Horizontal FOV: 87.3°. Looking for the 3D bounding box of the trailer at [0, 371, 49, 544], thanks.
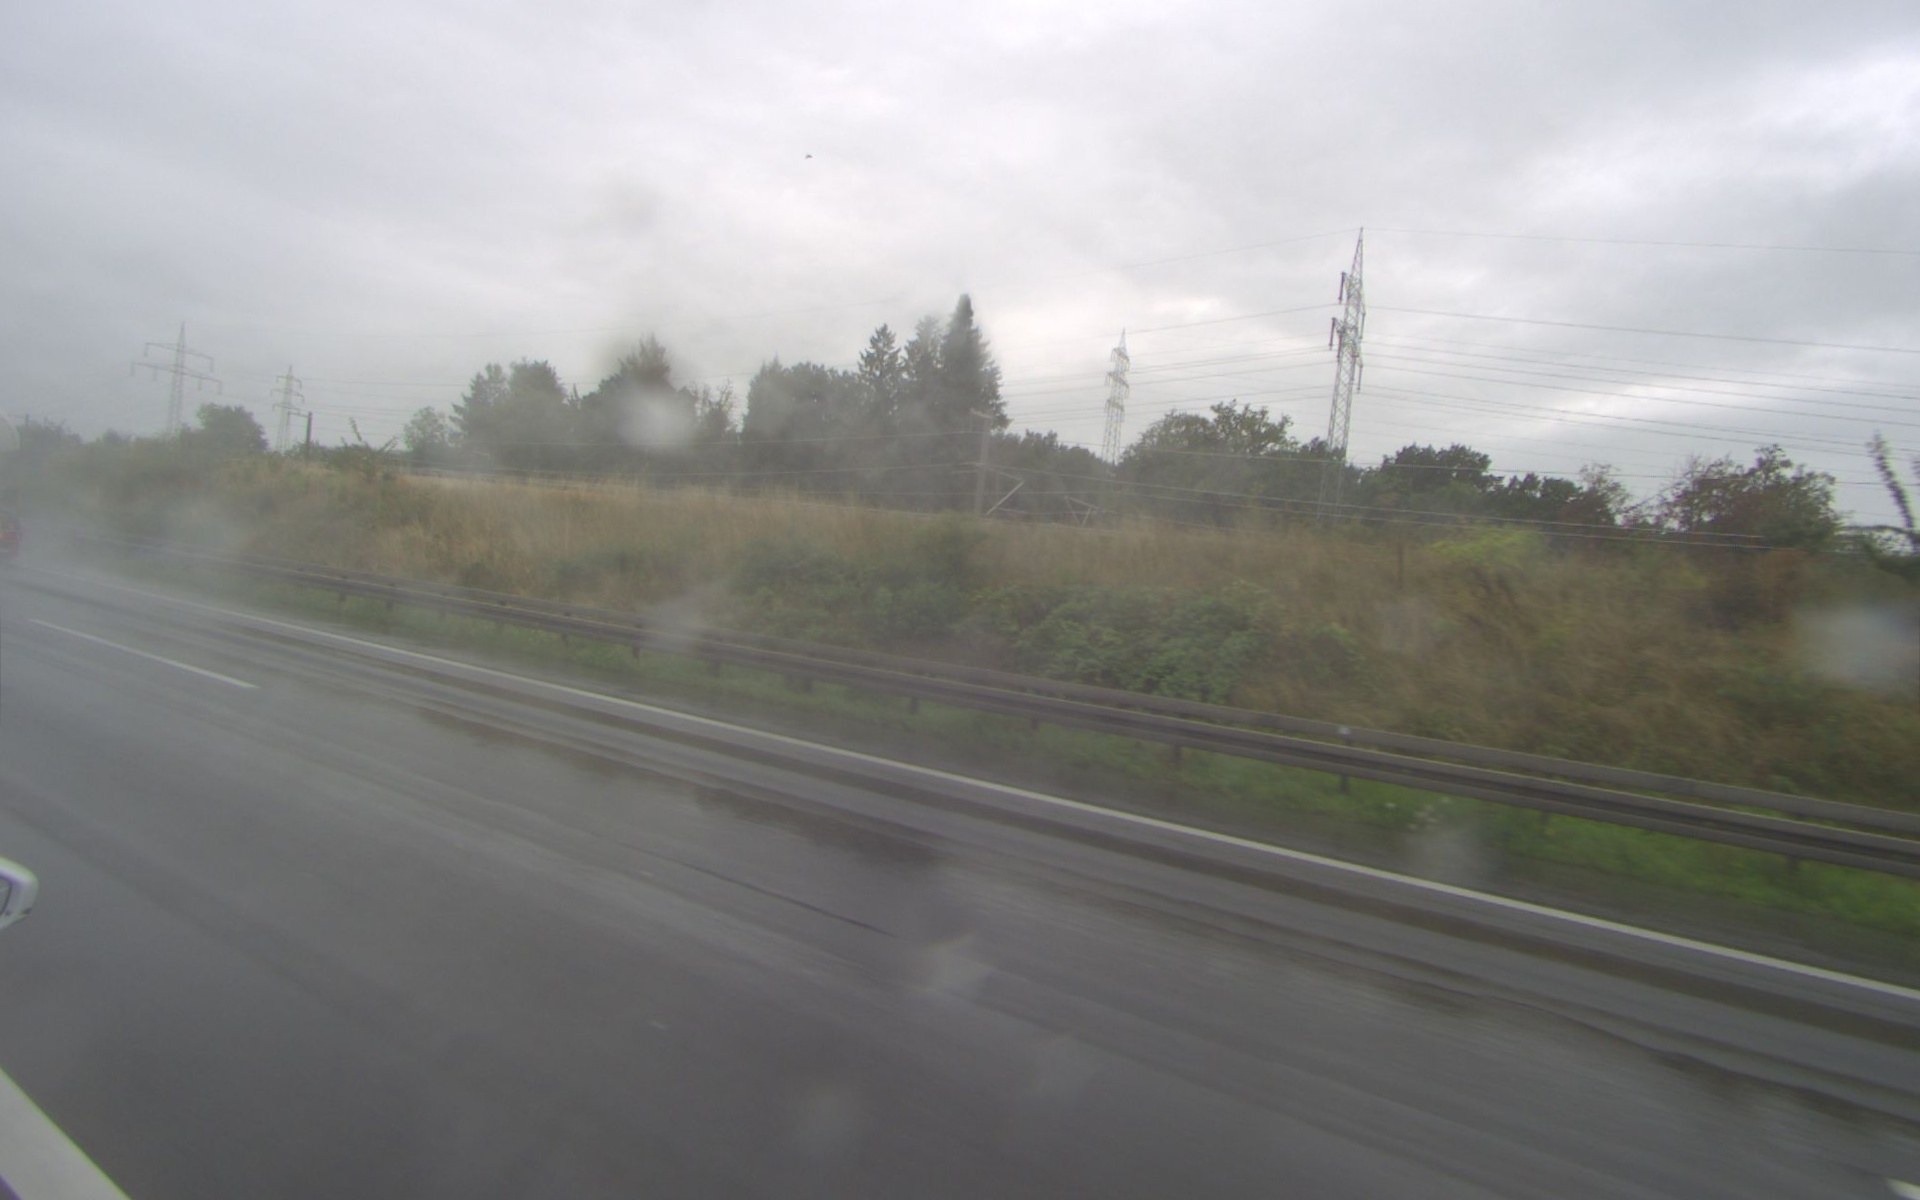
[{"bbox_3d":[-27.444,-3.982,25.923,10.880,3.928,2.502,7,-1,31],"label":"trailer"}]
